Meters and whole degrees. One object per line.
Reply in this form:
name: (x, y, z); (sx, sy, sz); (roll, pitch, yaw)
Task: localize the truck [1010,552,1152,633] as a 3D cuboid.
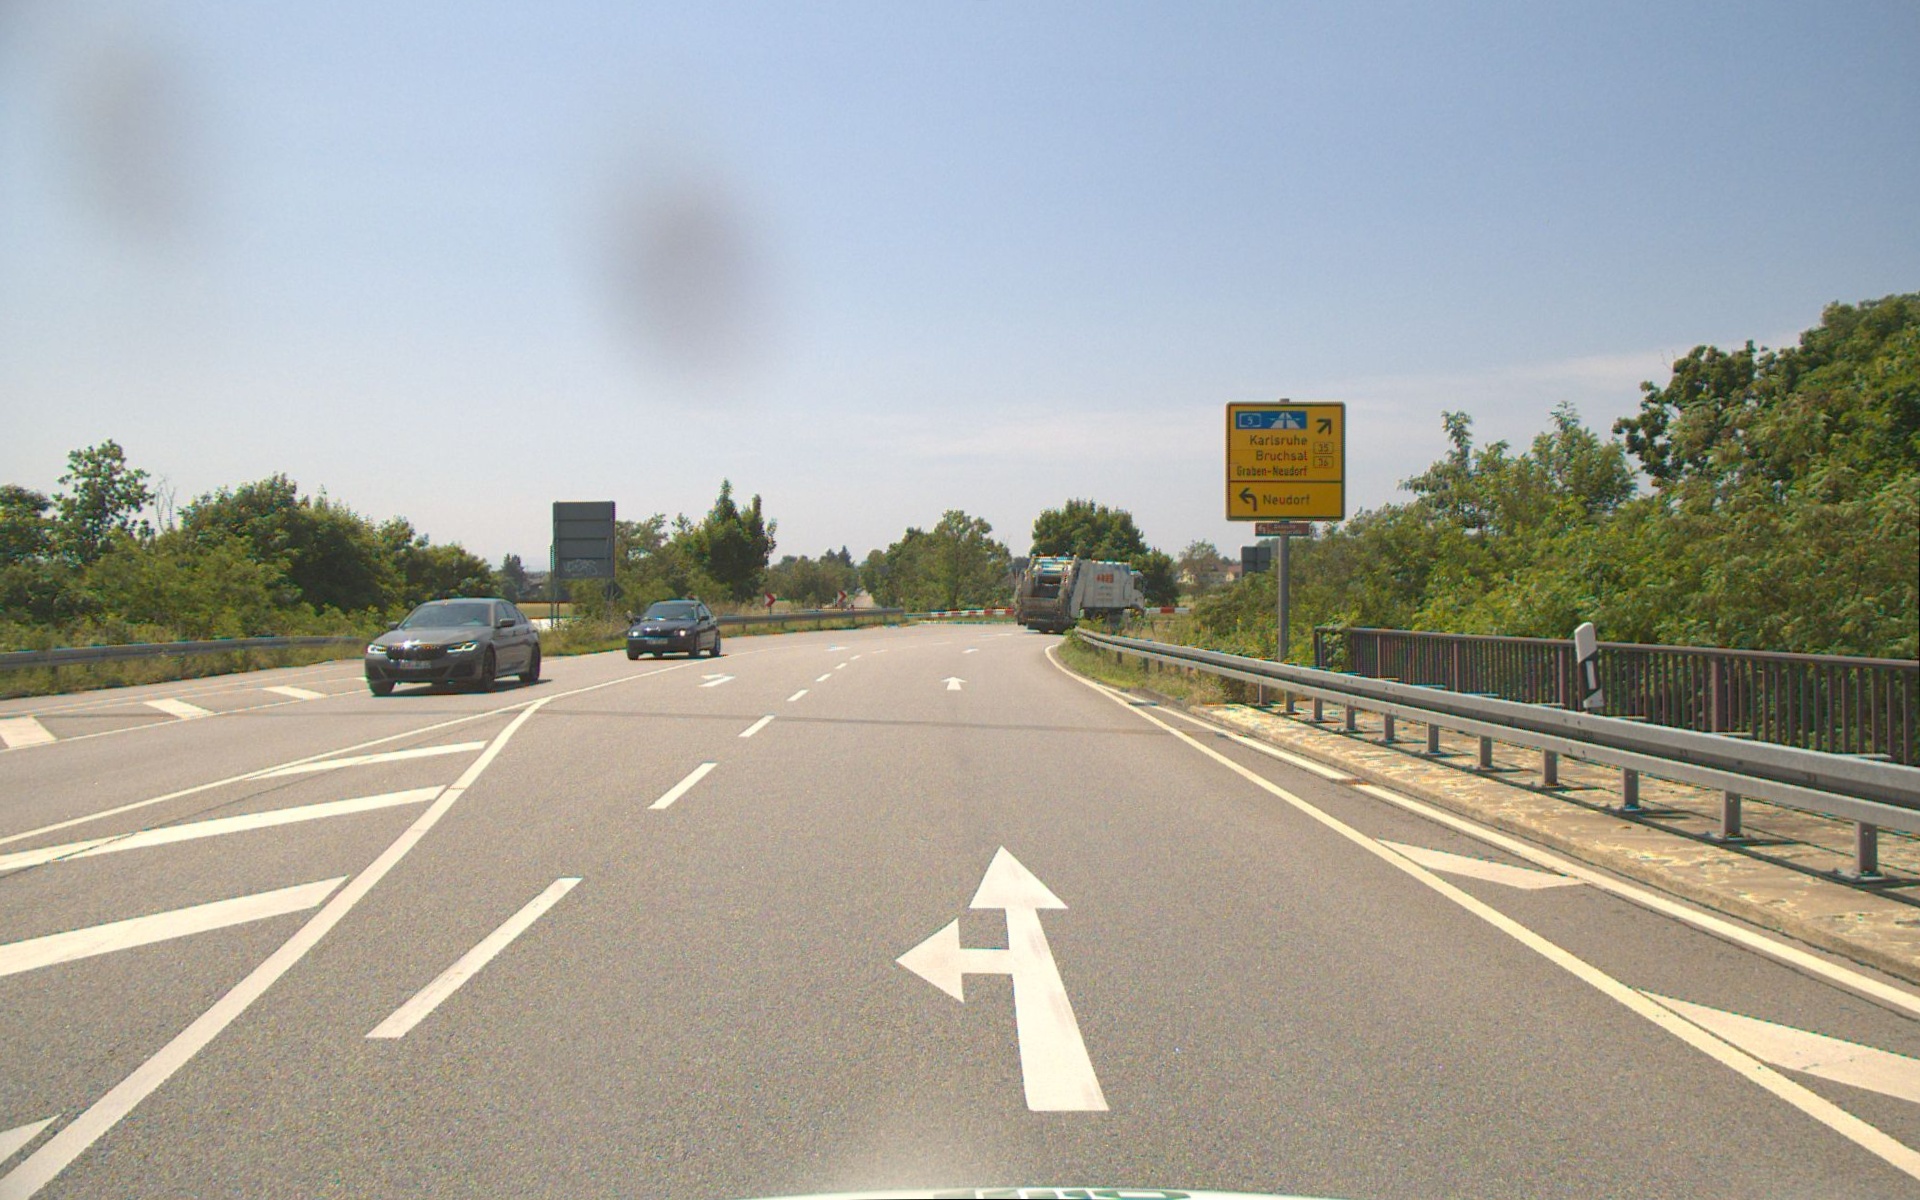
truck: (6.073, -0.317, 81.092); (2.761, 3.733, 9.925); (1, 0, 31)

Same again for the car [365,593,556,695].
car: (-8.165, 0.660, 27.482); (1.688, 1.478, 4.794); (-2, 0, 0)

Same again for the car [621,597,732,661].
car: (-7.102, 0.685, 41.821); (1.698, 1.425, 4.383); (-2, 1, 4)
